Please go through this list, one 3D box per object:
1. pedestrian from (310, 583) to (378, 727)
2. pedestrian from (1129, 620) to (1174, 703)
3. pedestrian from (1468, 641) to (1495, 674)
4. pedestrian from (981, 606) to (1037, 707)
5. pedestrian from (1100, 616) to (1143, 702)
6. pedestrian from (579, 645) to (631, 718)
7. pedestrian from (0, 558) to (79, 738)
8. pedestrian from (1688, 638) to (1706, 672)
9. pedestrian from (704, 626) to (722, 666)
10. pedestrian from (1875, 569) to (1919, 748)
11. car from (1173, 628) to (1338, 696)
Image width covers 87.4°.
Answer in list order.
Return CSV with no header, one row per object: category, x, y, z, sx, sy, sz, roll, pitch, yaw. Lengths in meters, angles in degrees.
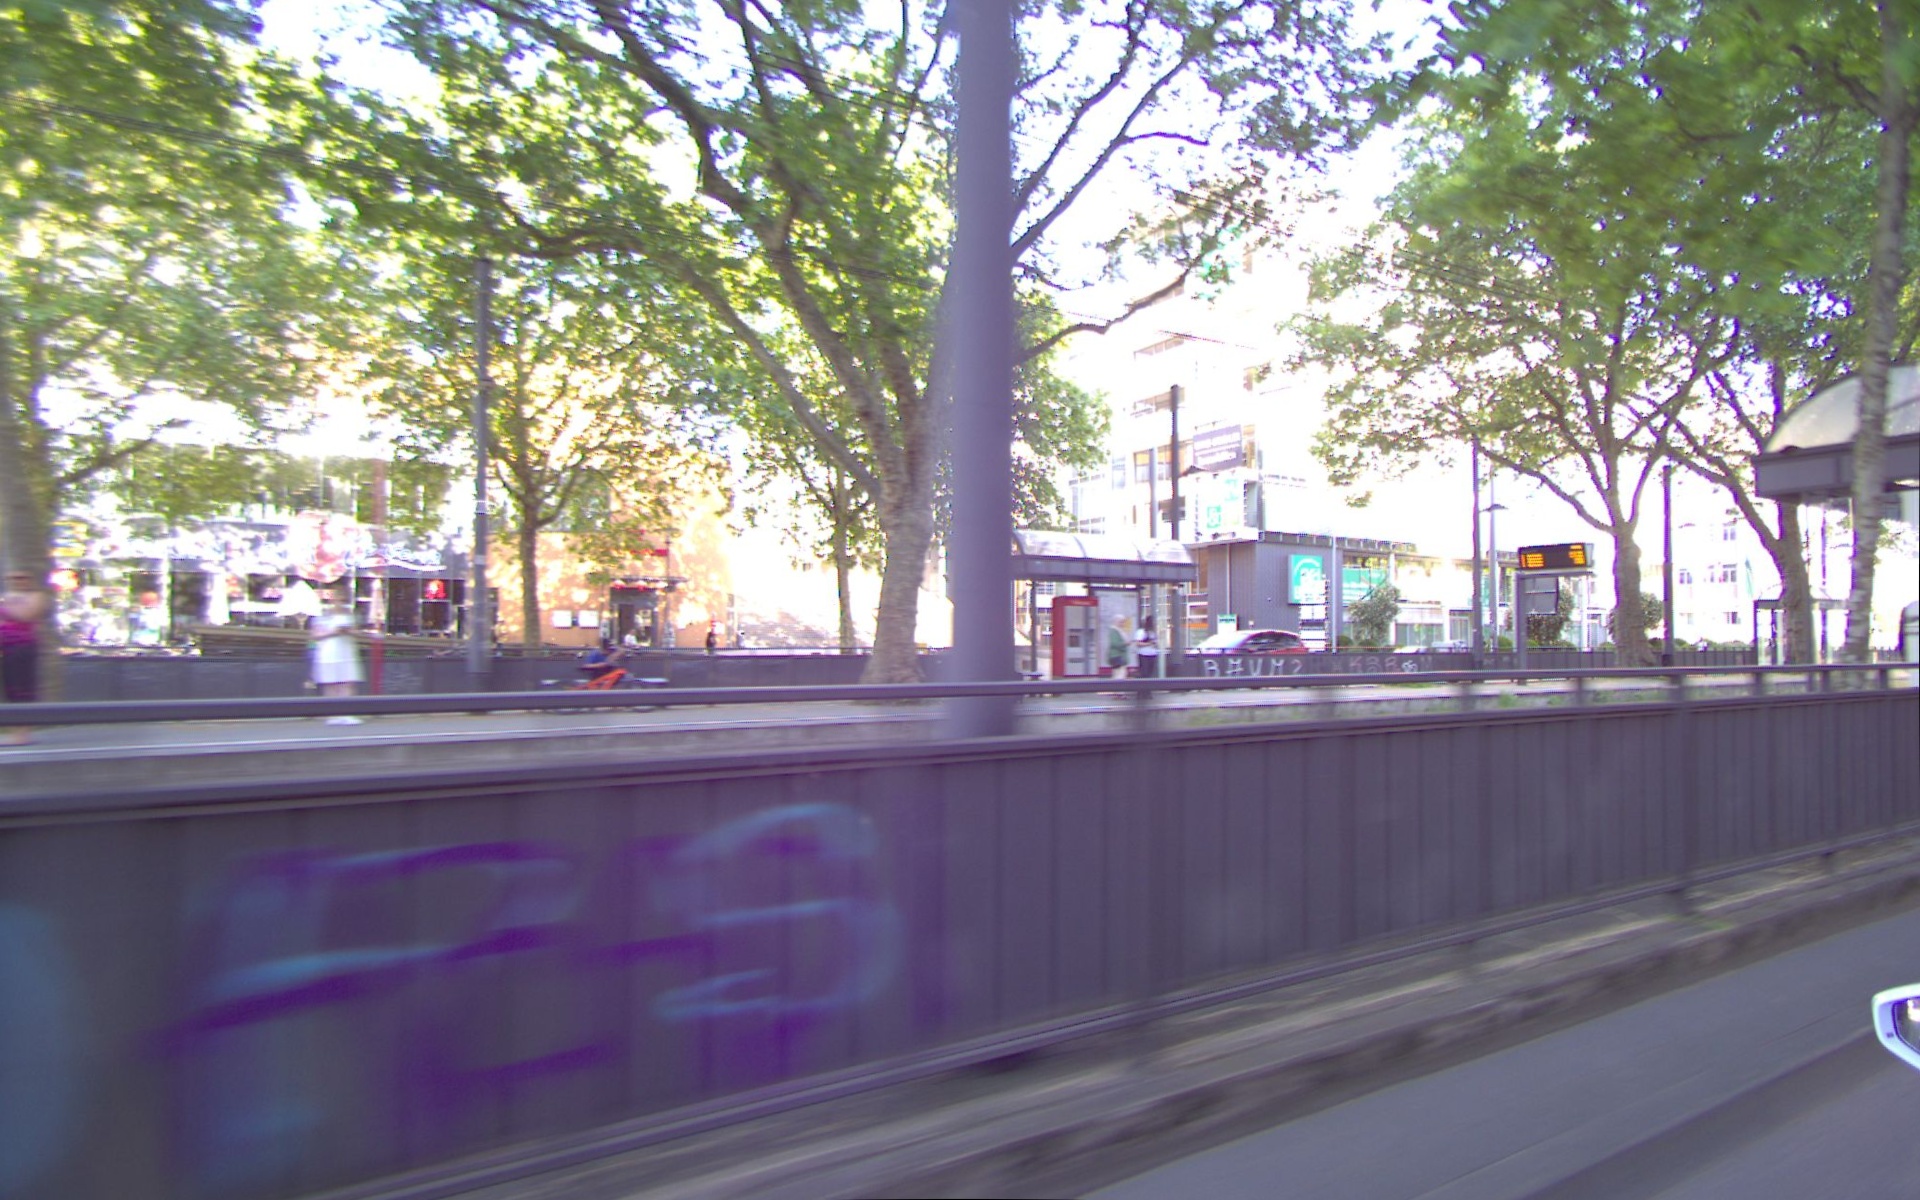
pedestrian,-7.850,0.694,12.800,0.632,1.763,0.690,2,-2,-38
pedestrian,3.523,1.122,18.505,0.603,1.505,0.564,2,-2,-42
pedestrian,25.636,2.827,49.403,0.759,1.613,0.901,2,-2,-31
pedestrian,0.832,0.948,17.092,0.664,1.663,0.661,2,-2,-42
pedestrian,2.915,1.058,18.136,0.547,1.517,0.547,2,-2,-42
pedestrian,-5.337,1.205,15.096,0.688,1.054,0.720,1,-2,-22
pedestrian,-9.285,0.471,10.002,0.693,1.718,0.678,2,-2,-38
pedestrian,44.692,3.335,60.914,0.825,2.002,0.602,1,0,-33
pedestrian,-9.915,1.840,40.258,0.572,1.625,0.576,1,-2,-25
pedestrian,10.275,0.618,10.671,0.631,1.863,0.643,1,-2,-31
car,7.797,1.627,26.477,3.952,1.661,1.985,2,-3,-29
